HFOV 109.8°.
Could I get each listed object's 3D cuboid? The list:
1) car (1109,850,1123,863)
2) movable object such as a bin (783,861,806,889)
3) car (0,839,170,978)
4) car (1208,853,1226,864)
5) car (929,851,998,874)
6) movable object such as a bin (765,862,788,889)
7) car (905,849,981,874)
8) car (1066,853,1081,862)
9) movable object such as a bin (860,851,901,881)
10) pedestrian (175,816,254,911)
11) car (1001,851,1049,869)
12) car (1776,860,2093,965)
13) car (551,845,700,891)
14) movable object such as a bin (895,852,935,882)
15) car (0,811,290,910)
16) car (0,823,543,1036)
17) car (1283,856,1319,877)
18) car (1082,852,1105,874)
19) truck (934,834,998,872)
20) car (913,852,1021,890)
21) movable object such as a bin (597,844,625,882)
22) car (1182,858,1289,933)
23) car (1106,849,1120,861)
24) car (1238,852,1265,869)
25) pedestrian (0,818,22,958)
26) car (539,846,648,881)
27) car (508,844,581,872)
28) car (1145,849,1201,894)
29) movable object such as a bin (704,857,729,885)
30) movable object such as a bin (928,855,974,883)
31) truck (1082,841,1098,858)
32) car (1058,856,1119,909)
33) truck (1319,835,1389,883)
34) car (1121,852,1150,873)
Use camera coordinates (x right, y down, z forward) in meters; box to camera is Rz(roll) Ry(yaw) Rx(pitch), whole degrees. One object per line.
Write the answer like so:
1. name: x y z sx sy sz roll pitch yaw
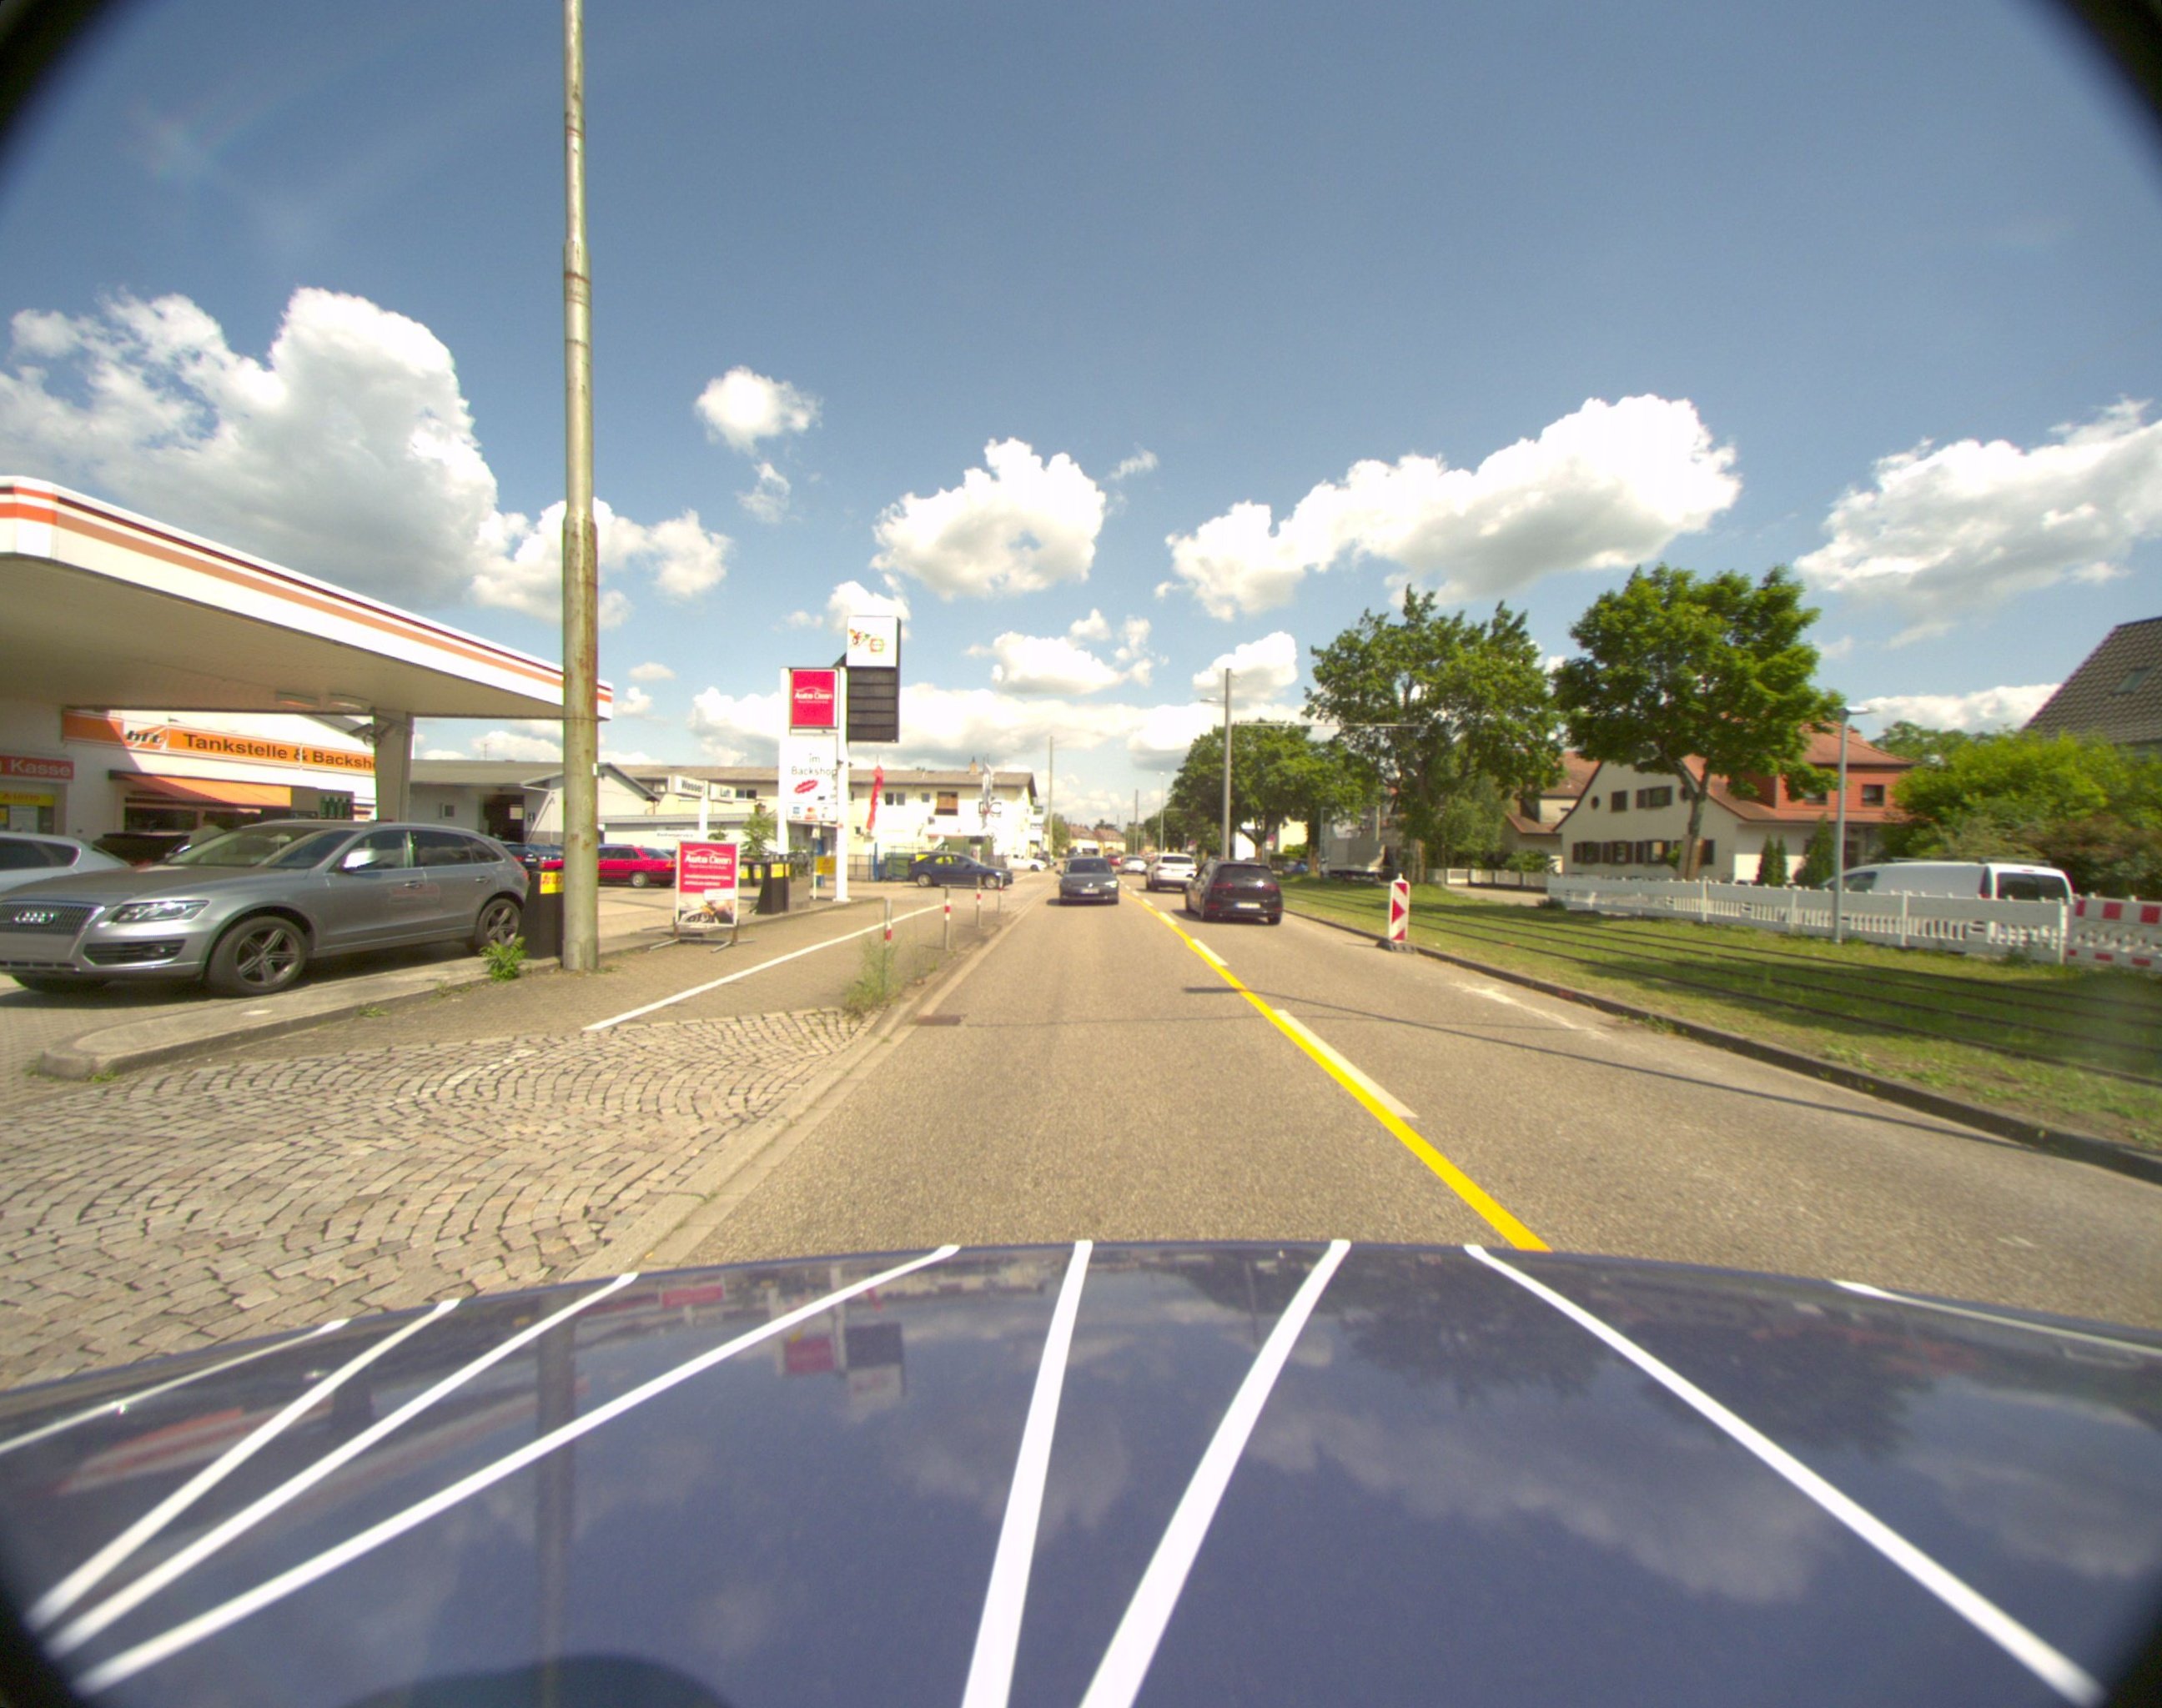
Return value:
1. car: 4.319 0.316 93.385 1.582 1.461 3.720 1 0 1
2. movable object such as a bin: -10.741 0.795 28.527 0.582 1.004 0.706 -1 1 0
3. car: -12.712 0.611 7.706 1.696 1.462 4.422 2 1 -2
4. car: 17.487 0.558 97.680 1.636 1.294 3.999 -1 1 1
5. car: -7.995 0.557 51.917 4.257 1.499 1.828 0 1 9
6. movable object such as a bin: -11.420 0.801 28.531 0.582 1.004 0.706 -1 1 0
7. car: -8.569 0.452 47.362 4.254 1.496 1.829 0 1 17
8. car: -1.168 0.537 117.633 1.823 1.412 4.002 2 0 7
9. movable object such as a bin: -9.919 0.588 37.672 1.536 1.402 1.765 -1 1 0
10. pedestrian: -15.998 0.160 14.045 0.686 1.712 0.619 -1 1 0
11. car: -4.537 0.467 61.678 3.725 1.350 1.518 0 1 4
12. car: 16.305 1.014 14.898 1.657 1.616 4.000 2 1 1
13. car: -15.843 0.450 26.543 4.144 1.416 1.771 2 1 2
14. movable object such as a bin: -8.242 0.633 37.813 1.536 1.402 1.765 -1 1 0
15. car: -17.229 0.076 13.450 1.687 1.511 4.493 2 0 1
16. car: -8.367 0.556 8.152 1.951 1.615 4.614 2 1 -1
17. car: 16.797 0.944 58.208 1.672 1.504 3.930 -1 1 1
18. car: 0.887 0.615 53.926 1.594 1.418 3.707 -1 1 1
19. truck: -8.254 -0.082 54.736 4.181 2.645 2.108 -1 1 2
20. car: -4.622 0.666 31.055 4.060 1.400 1.648 1 1 7
21. movable object such as a bin: -17.474 0.332 28.271 0.582 1.383 0.706 1 1 -1
22. car: 3.555 0.896 18.131 1.696 1.404 3.859 3 1 0
23. car: 4.777 0.189 112.704 1.801 1.680 4.221 3 0 0
24. car: 17.023 0.618 75.885 1.707 1.504 4.523 -1 1 1
25. pedestrian: -13.852 0.435 9.443 0.498 1.766 0.577 -1 1 -2
26. car: -18.971 0.355 29.639 3.309 1.218 1.487 2 1 2
27. car: -26.771 0.189 37.922 3.663 1.345 1.642 0 0 31
28. car: 3.811 0.691 32.122 1.829 1.656 4.461 2 1 1
29. movable object such as a bin: -13.684 0.636 28.535 0.582 1.004 0.706 -1 1 0
30. movable object such as a bin: -6.419 0.725 37.776 1.968 1.339 1.708 -1 1 0
31. truck: 1.661 -0.819 132.047 2.632 2.872 7.923 -1 1 2
32. car: 0.279 0.819 23.779 1.743 1.410 4.381 0 1 2
33. truck: 16.929 0.245 47.519 2.371 2.789 5.950 -1 1 1
34. car: 4.018 0.643 56.747 1.825 1.437 4.483 3 0 0
